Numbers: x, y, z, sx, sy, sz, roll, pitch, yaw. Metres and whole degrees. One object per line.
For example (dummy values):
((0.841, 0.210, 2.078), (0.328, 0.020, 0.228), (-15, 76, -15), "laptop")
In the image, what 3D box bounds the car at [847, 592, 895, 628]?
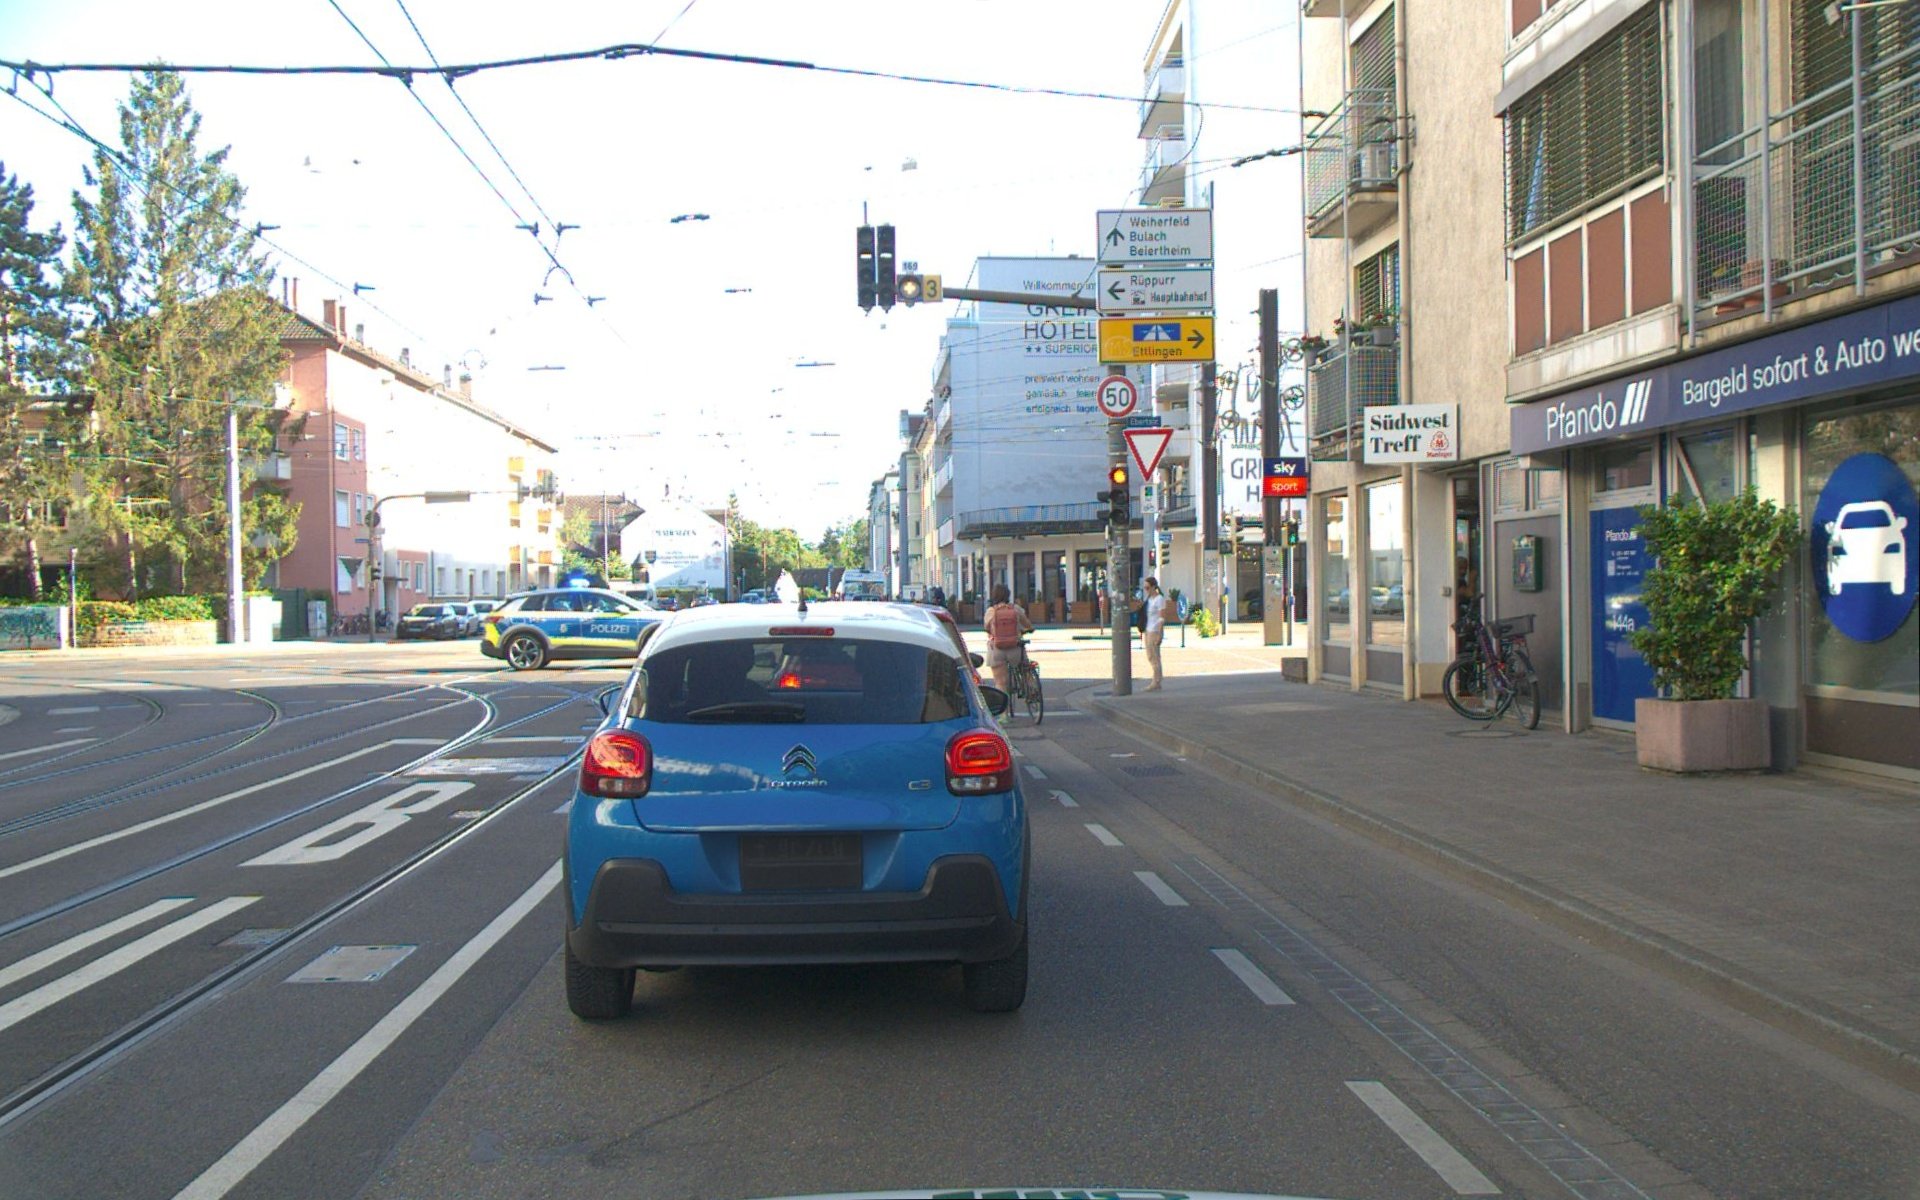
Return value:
((-3.684, 0.381, 67.749), (1.752, 1.383, 3.909), (-1, 0, -6), "car")

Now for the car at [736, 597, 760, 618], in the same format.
((-21.833, 0.803, 170.499), (2.293, 2.074, 5.044), (-1, 0, -6), "car")

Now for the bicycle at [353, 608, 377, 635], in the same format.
((-25.883, 0.927, 71.993), (0.527, 1.101, 1.908), (-1, 0, -7), "bicycle")

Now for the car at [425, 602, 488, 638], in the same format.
((-22.563, 0.875, 74.263), (1.913, 1.545, 4.040), (-1, 0, -6), "car")

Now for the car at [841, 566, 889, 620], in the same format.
((-4.240, -0.320, 73.188), (2.039, 2.309, 5.646), (0, 0, -4), "car")

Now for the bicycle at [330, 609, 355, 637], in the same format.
((-24.990, 0.918, 66.998), (0.628, 1.101, 1.905), (-1, 0, -11), "bicycle")

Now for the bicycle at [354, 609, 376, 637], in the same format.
((-24.238, 0.935, 67.422), (0.527, 1.101, 1.905), (-1, 0, -11), "bicycle")

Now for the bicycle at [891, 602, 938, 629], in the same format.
((-1.868, 0.640, 68.281), (1.868, 1.083, 0.641), (-1, 0, -8), "bicycle")

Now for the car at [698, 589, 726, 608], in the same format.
((-22.529, -0.171, 150.130), (1.972, 1.656, 5.033), (-1, 0, -15), "car")

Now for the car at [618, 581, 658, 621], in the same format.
((-23.239, 0.065, 119.584), (2.446, 2.759, 5.828), (-1, 0, -7), "car")

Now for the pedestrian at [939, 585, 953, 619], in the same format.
((-0.594, 0.082, 70.003), (0.459, 1.445, 0.525), (-1, 0, -13), "pedestrian")

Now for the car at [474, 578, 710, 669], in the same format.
((-7.418, 0.464, 33.702), (4.446, 1.713, 1.790), (-1, 0, -5), "car")

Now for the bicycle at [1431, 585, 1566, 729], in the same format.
((5.112, 0.505, 15.830), (0.627, 1.286, 1.910), (-1, 0, -1), "bicycle")

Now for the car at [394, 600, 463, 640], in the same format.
((-22.023, 0.790, 68.658), (1.913, 1.545, 3.995), (-1, 0, -6), "car")

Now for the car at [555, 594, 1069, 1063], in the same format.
((-0.612, 0.732, 7.360), (1.647, 1.488, 3.997), (1, 0, -4), "car")

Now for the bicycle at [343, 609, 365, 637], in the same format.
((-24.596, 0.928, 67.123), (0.527, 1.101, 1.905), (-1, 0, -11), "bicycle")

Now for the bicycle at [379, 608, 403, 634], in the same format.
((-25.681, 0.940, 74.699), (0.597, 1.101, 1.908), (-1, 0, -7), "bicycle")

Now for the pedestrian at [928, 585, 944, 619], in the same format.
((-1.019, 0.087, 70.248), (0.514, 1.445, 0.547), (-1, 0, 19), "pedestrian")

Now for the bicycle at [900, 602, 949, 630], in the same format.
((-1.401, 0.638, 65.789), (1.868, 1.083, 0.641), (-1, 0, -8), "bicycle")

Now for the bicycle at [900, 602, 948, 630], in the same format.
((-1.454, 0.662, 67.094), (1.868, 1.083, 0.641), (-1, 0, -8), "bicycle")

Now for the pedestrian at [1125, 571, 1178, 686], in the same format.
((2.823, 0.412, 24.418), (0.735, 1.663, 0.740), (-1, 0, 5), "pedestrian")

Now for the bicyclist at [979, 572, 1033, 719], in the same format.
((0.566, 0.552, 20.606), (0.588, 1.776, 1.084), (-1, 0, -1), "bicyclist")

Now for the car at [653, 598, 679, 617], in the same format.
((-25.593, 0.640, 144.172), (1.913, 1.545, 3.995), (-1, 0, -6), "car")

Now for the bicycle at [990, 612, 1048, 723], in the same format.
((0.720, 0.814, 20.647), (0.601, 1.286, 1.910), (-1, 0, -1), "bicycle")

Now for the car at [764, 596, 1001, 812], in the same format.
((-0.680, 0.727, 13.569), (1.647, 1.488, 3.997), (1, 0, -4), "car")
